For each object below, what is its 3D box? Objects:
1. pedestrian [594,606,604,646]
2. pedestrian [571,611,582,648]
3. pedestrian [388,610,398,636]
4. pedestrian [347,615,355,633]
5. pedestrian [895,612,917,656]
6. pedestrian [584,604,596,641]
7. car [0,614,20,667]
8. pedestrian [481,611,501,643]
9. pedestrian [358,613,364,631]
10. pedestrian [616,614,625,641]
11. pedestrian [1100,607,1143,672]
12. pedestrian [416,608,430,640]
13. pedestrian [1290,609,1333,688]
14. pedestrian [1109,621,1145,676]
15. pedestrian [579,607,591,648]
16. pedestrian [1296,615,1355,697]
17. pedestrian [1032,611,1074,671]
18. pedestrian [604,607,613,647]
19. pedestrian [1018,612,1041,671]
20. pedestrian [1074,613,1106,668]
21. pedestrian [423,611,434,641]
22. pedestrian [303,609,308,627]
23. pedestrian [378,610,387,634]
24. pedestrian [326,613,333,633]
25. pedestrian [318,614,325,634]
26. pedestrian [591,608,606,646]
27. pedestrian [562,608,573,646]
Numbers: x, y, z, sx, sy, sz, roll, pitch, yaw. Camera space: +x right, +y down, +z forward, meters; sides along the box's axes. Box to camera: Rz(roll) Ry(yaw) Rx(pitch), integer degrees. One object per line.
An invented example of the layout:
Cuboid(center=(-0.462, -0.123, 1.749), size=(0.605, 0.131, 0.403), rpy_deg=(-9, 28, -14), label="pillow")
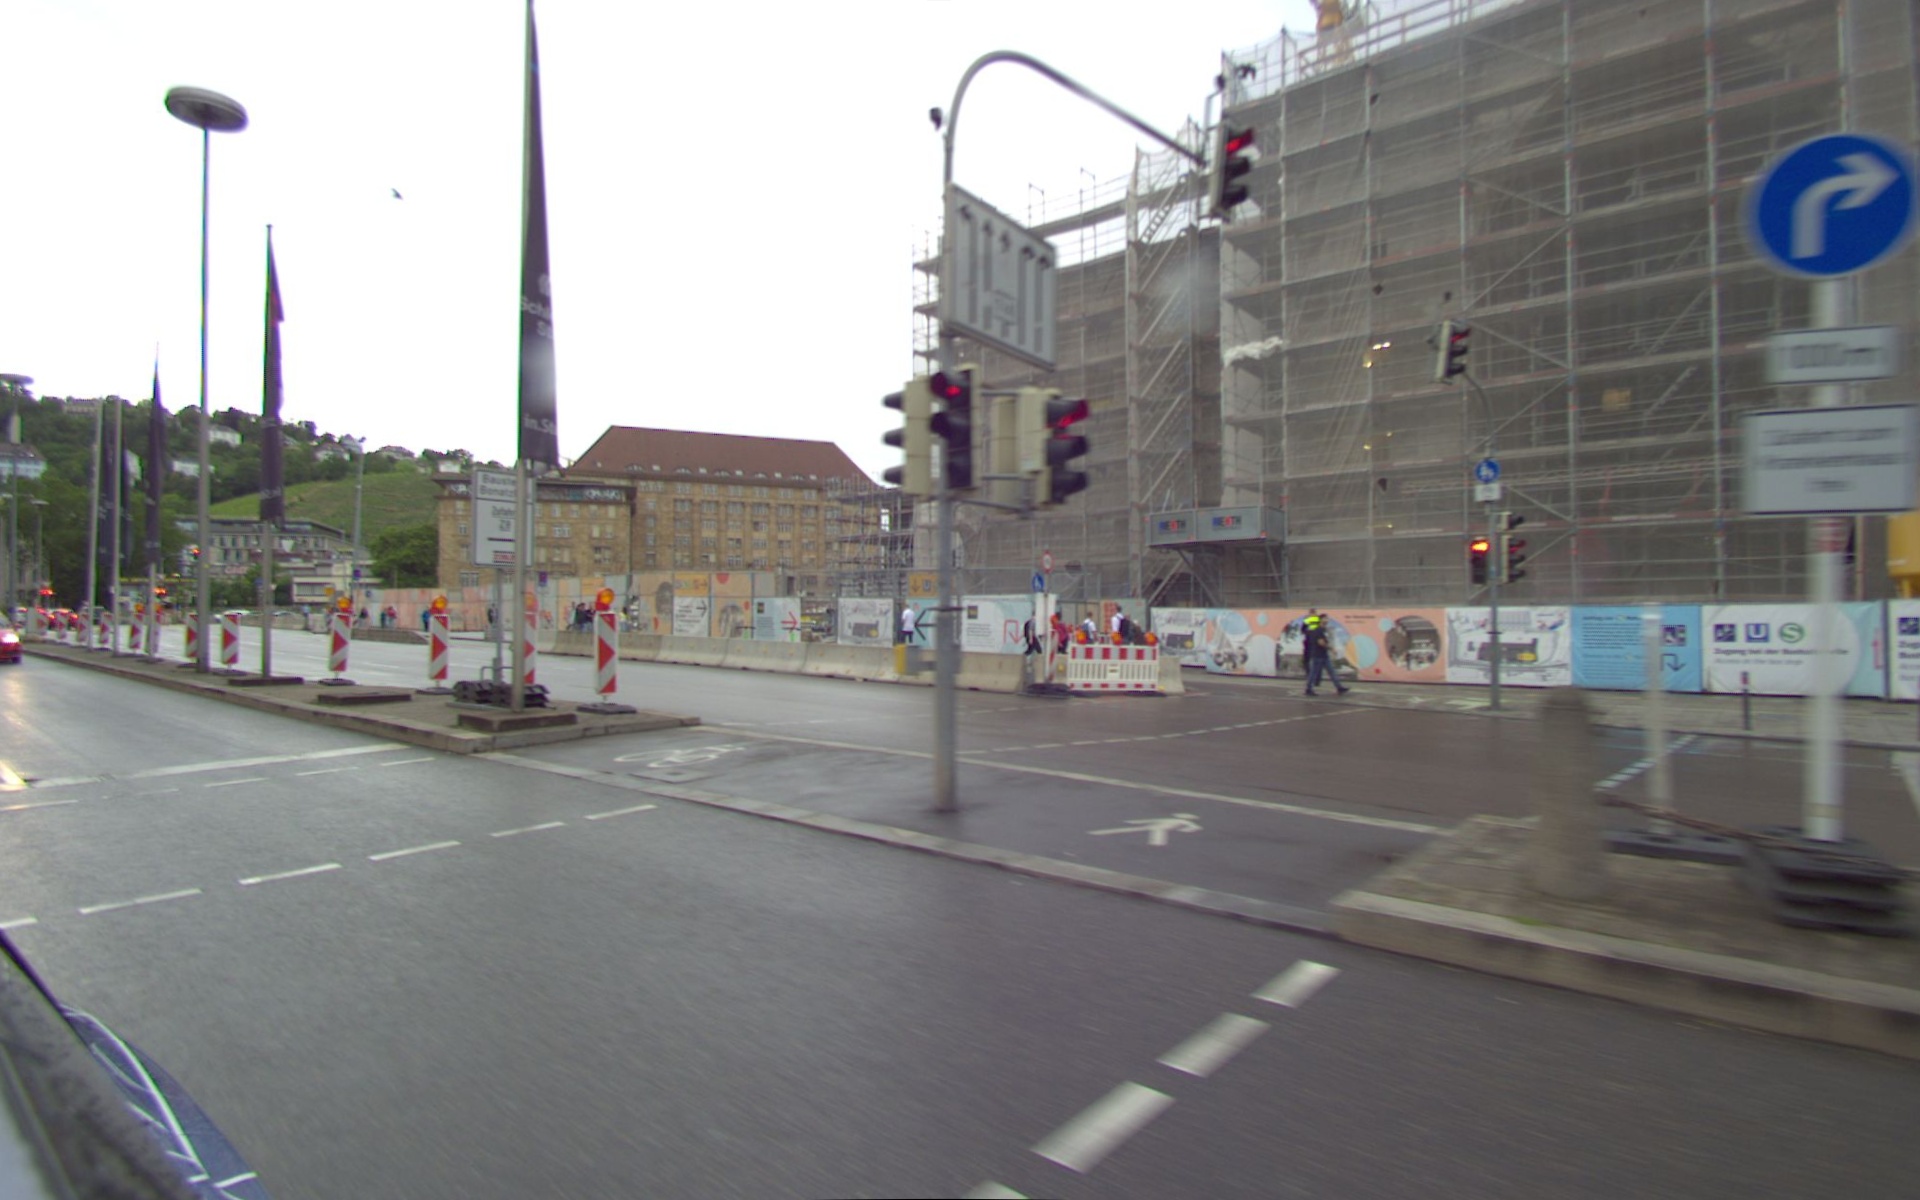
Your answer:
Cuboid(center=(-16.091, 1.150, 45.130), size=(0.346, 1.783, 0.306), rpy_deg=(-2, -1, 44), label="pedestrian")
Cuboid(center=(-16.866, 1.306, 44.528), size=(0.321, 1.628, 0.345), rpy_deg=(-1, -1, 41), label="pedestrian")
Cuboid(center=(-36.687, 1.480, 65.516), size=(0.413, 1.628, 0.433), rpy_deg=(-1, -1, 41), label="pedestrian")
Cuboid(center=(-46.791, 1.854, 77.775), size=(0.413, 1.425, 0.433), rpy_deg=(-1, -1, 41), label="pedestrian")
Cuboid(center=(-1.828, 1.147, 34.170), size=(0.557, 1.454, 0.529), rpy_deg=(1, -1, -42), label="pedestrian")
Cuboid(center=(-16.635, 1.016, 45.501), size=(0.395, 1.633, 0.365), rpy_deg=(0, 0, -45), label="pedestrian")
Cuboid(center=(-27.234, 1.090, 27.746), size=(3.998, 1.388, 1.724), rpy_deg=(-1, -1, 41), label="car")
Cuboid(center=(-25.145, 1.448, 54.238), size=(0.617, 1.697, 0.796), rpy_deg=(-1, -1, 44), label="pedestrian")
Cuboid(center=(-44.086, 1.628, 74.480), size=(0.351, 1.321, 0.267), rpy_deg=(-1, -1, 41), label="pedestrian")
Cuboid(center=(-15.226, 1.218, 45.416), size=(0.251, 1.202, 0.390), rpy_deg=(0, 0, -43), label="pedestrian")
Cuboid(center=(4.269, 1.021, 26.749), size=(0.872, 1.677, 0.746), rpy_deg=(-1, -1, 42), label="pedestrian")
Cuboid(center=(-35.018, 1.572, 66.023), size=(0.685, 2.049, 0.585), rpy_deg=(-1, -1, 41), label="pedestrian")
Cuboid(center=(8.331, 1.124, 23.975), size=(0.755, 1.826, 0.862), rpy_deg=(-1, -1, 36), label="pedestrian")
Cuboid(center=(5.421, 1.545, 32.813), size=(0.951, 1.749, 0.701), rpy_deg=(-1, -1, 33), label="pedestrian")
Cuboid(center=(-16.575, 1.220, 44.769), size=(0.365, 1.783, 0.363), rpy_deg=(-1, -1, 42), label="pedestrian")
Cuboid(center=(7.746, 1.160, 21.431), size=(0.963, 1.694, 0.746), rpy_deg=(-1, -1, 41), label="pedestrian")
Cuboid(center=(2.490, 1.092, 27.167), size=(0.709, 1.578, 0.941), rpy_deg=(-1, -1, 42), label="pedestrian")
Cuboid(center=(-15.729, 1.218, 45.284), size=(0.268, 1.783, 0.310), rpy_deg=(-1, 0, 44), label="pedestrian")
Cuboid(center=(2.097, 1.250, 30.656), size=(0.641, 1.782, 0.526), rpy_deg=(0, -1, 2), label="pedestrian")
Cuboid(center=(3.990, 1.232, 31.028), size=(0.654, 1.677, 0.700), rpy_deg=(1, -1, -32), label="pedestrian")
Cuboid(center=(-36.278, 1.739, 69.104), size=(0.490, 2.029, 0.535), rpy_deg=(-1, 0, 41), label="pedestrian")
Cuboid(center=(-59.322, 1.588, 91.703), size=(0.323, 1.628, 0.330), rpy_deg=(-1, -1, 41), label="pedestrian")
Cuboid(center=(-39.595, 1.502, 69.393), size=(0.413, 1.628, 0.433), rpy_deg=(-1, -1, 41), label="pedestrian")
Cuboid(center=(-51.576, 1.899, 82.771), size=(0.413, 1.628, 0.382), rpy_deg=(-1, -1, 41), label="pedestrian")
Cuboid(center=(-52.003, 1.919, 82.429), size=(0.357, 1.628, 0.370), rpy_deg=(-1, -1, 41), label="pedestrian")
Cuboid(center=(-17.161, 1.269, 48.018), size=(0.463, 1.768, 0.511), rpy_deg=(-1, 0, 41), label="pedestrian")
Cuboid(center=(-18.256, 1.257, 47.078), size=(0.391, 1.783, 0.363), rpy_deg=(-2, -1, 44), label="pedestrian")
